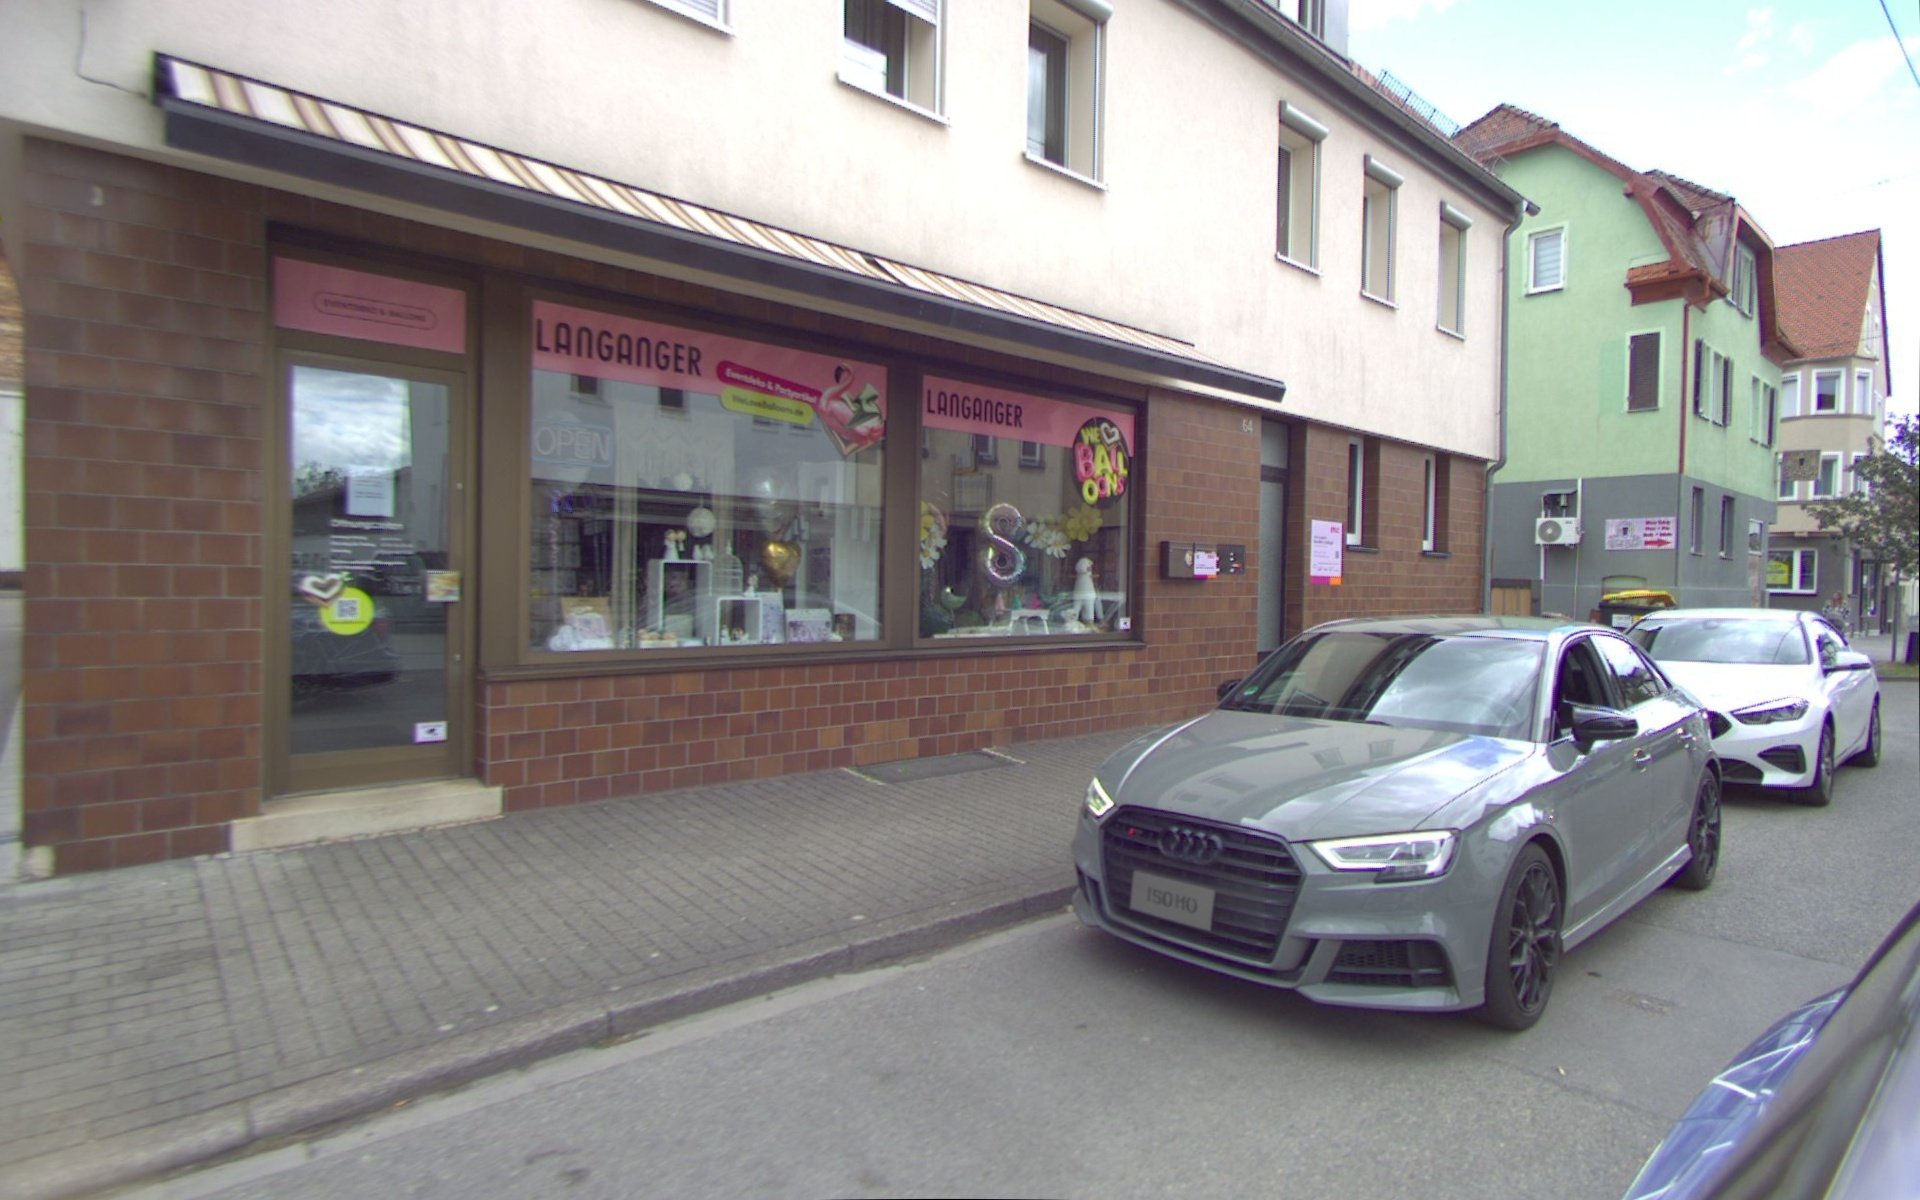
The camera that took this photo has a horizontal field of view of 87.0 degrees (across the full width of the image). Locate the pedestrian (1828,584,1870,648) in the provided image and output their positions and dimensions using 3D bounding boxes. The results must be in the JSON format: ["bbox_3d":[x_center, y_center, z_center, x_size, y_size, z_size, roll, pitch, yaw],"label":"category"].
[{"bbox_3d":[24.401,0.424,27.766,0.884,1.741,0.751,0,0,-41],"label":"pedestrian"}]

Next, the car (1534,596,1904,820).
[{"bbox_3d":[6.734,0.701,8.798,4.258,1.464,1.833,0,0,-42],"label":"car"}]

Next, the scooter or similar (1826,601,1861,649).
[{"bbox_3d":[23.723,0.656,27.175,0.876,1.248,0.590,0,0,-42],"label":"scooter or similar"}]

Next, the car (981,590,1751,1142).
[{"bbox_3d":[2.174,0.692,4.753,4.040,1.464,1.833,0,0,-43],"label":"car"}]
